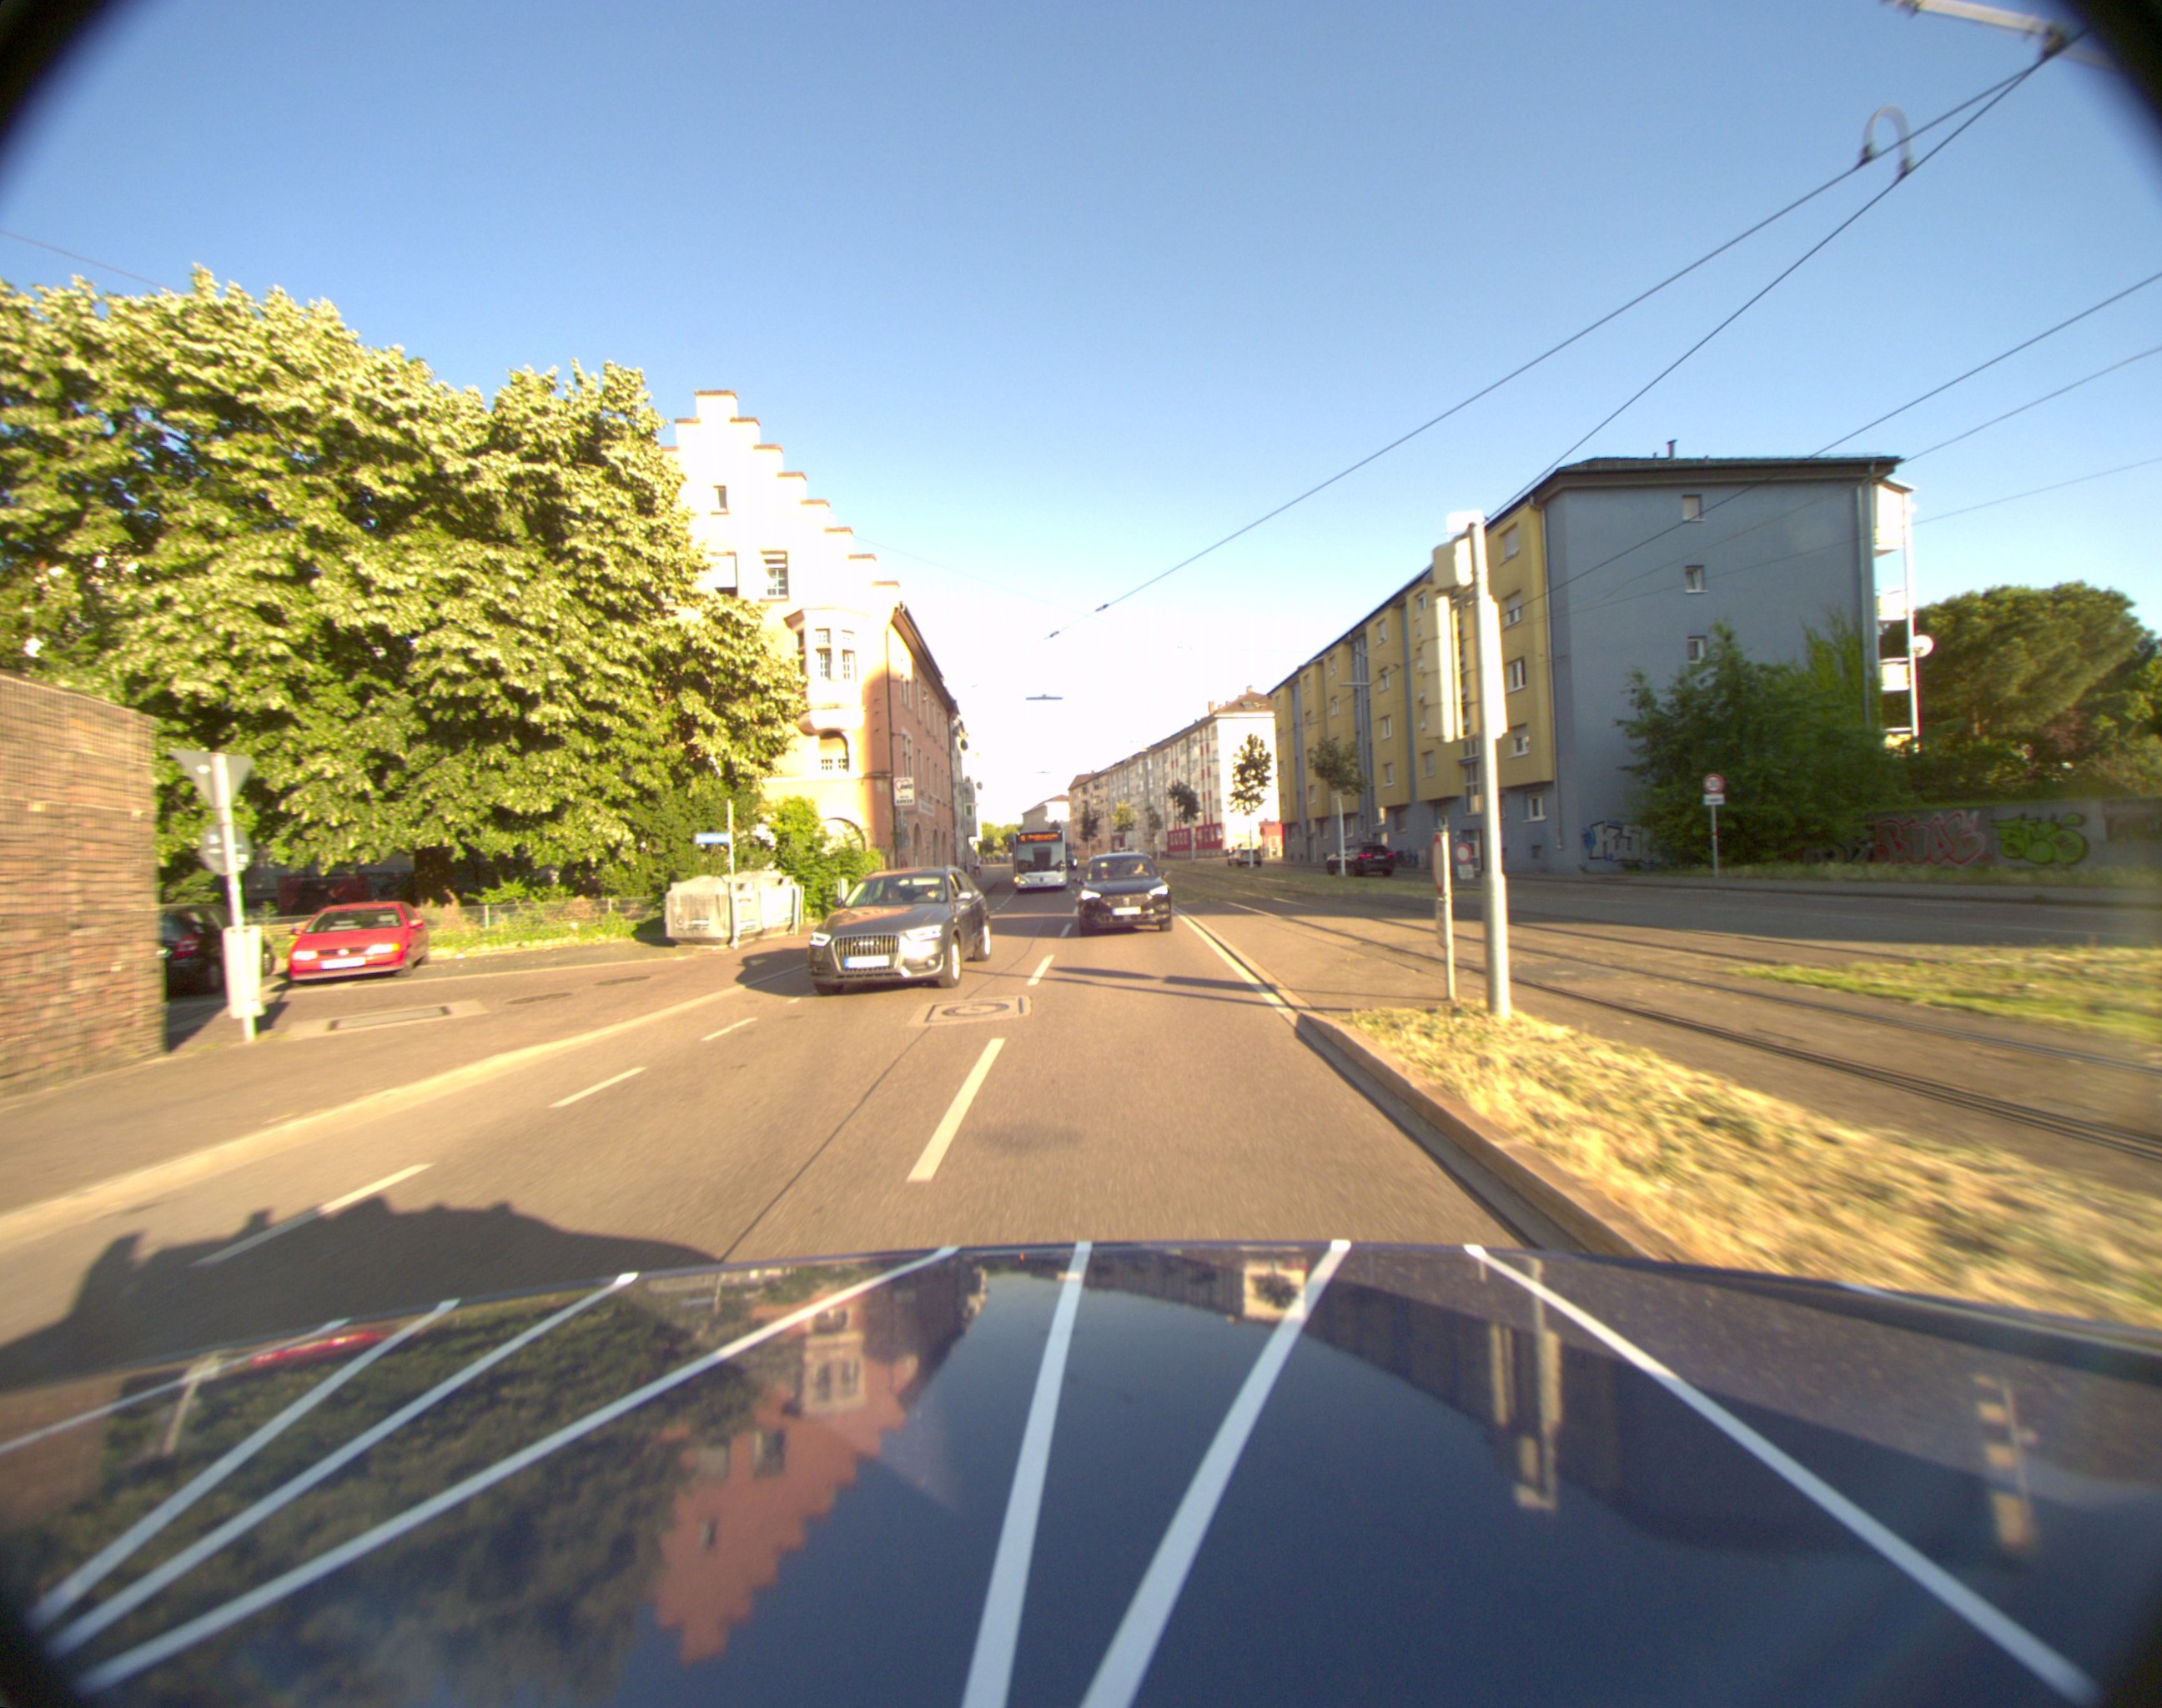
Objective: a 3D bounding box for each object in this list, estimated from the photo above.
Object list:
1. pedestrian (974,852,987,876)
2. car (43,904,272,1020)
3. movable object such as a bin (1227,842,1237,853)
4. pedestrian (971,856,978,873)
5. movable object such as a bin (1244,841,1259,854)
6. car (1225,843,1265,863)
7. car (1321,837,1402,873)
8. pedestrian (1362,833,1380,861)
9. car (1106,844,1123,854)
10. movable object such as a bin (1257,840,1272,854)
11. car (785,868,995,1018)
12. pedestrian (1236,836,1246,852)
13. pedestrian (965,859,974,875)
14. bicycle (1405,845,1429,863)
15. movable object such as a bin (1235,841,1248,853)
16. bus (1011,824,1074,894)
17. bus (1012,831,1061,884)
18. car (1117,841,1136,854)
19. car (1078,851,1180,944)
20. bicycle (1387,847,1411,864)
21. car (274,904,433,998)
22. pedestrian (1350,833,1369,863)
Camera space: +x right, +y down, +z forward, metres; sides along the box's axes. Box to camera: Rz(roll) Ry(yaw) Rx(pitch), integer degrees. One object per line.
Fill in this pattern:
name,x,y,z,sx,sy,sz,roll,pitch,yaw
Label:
pedestrian,-7.677,0.765,58.060,0.832,1.761,0.995,-2,1,-4
car,-16.180,1.781,13.552,1.633,1.528,3.437,-4,1,-35
movable object such as a bin,16.821,-0.749,84.736,0.869,1.219,0.805,-3,1,-8
pedestrian,-8.295,0.816,59.123,0.516,1.337,0.608,-2,2,-8
movable object such as a bin,18.702,-0.703,83.321,1.220,1.407,1.137,-3,1,-8
car,12.515,-0.119,58.327,1.703,1.451,4.313,-1,1,-6
car,14.014,0.082,38.296,1.924,1.652,4.706,-2,0,-5
pedestrian,18.020,-0.430,47.258,0.618,1.685,0.706,-7,1,-4
car,5.098,-0.828,114.873,1.799,1.460,4.792,-1,1,-7
movable object such as a bin,20.123,-0.760,83.531,1.220,1.407,1.107,-3,1,-8
car,-2.452,1.076,10.865,1.771,1.578,4.068,-4,0,2
pedestrian,16.681,-1.035,79.270,0.615,1.679,0.791,-3,1,-9
pedestrian,-8.580,0.983,58.387,0.589,1.244,0.584,-2,1,-4
bicycle,18.709,0.013,42.332,0.428,0.954,1.911,-2,1,-3
movable object such as a bin,17.913,-0.827,84.946,1.162,1.279,0.805,-3,1,-8
bus,-2.251,0.205,40.717,2.732,3.059,10.595,-4,1,-5
bus,-3.146,0.192,51.271,2.713,3.059,10.595,-4,1,-5
car,7.135,-1.037,120.509,1.873,1.818,4.417,-3,0,-12
car,0.893,0.810,16.405,1.788,1.615,4.216,-4,0,0
bicycle,18.524,0.071,44.263,0.428,0.920,1.911,-6,1,-3
car,-13.839,1.755,14.666,1.633,1.349,3.437,-3,0,-35
pedestrian,17.188,-0.352,46.952,0.594,1.763,0.885,-7,1,-4
